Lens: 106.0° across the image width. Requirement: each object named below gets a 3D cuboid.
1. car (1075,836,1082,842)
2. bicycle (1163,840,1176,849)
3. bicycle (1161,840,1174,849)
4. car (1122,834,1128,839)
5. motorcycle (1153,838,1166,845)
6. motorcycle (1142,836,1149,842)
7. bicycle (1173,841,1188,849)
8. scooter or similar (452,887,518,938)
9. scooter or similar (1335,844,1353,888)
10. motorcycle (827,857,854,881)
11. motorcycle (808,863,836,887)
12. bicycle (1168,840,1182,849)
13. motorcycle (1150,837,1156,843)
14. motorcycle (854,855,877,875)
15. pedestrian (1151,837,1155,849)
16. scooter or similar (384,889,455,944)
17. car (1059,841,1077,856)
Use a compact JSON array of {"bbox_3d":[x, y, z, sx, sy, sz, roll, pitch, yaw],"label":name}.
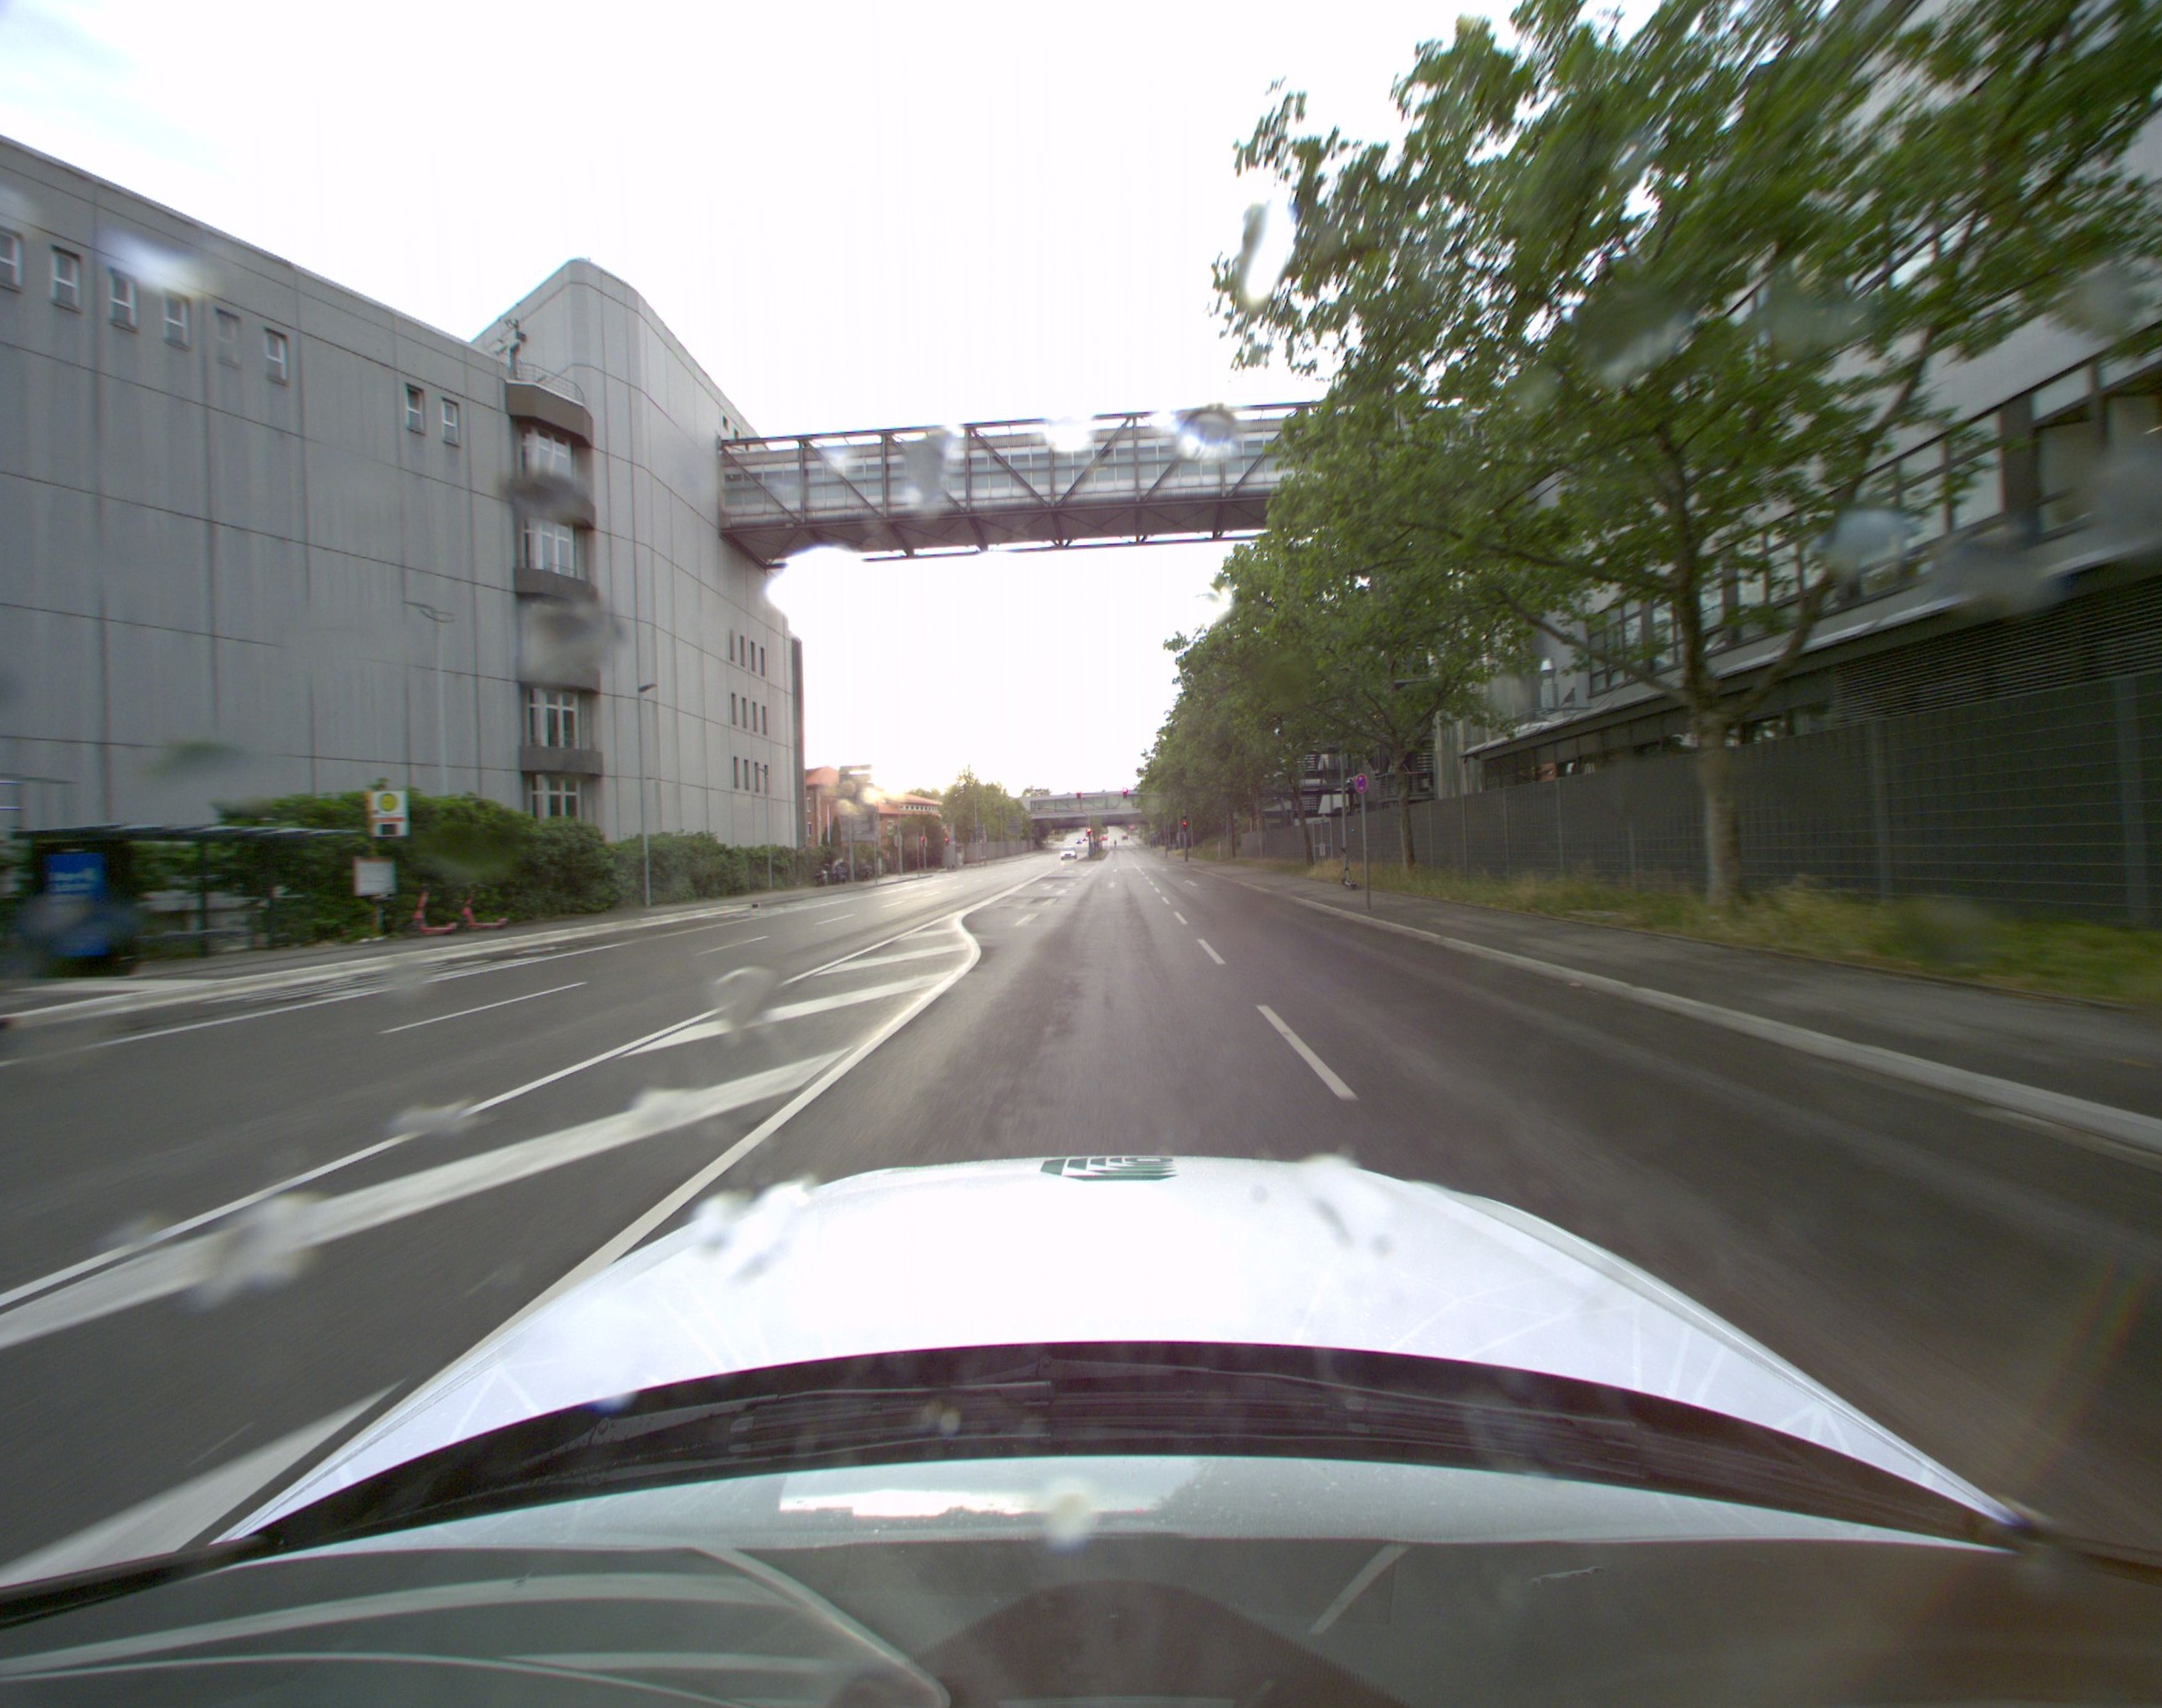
[{"bbox_3d":[-0.780,-4.652,246.793,1.869,1.624,3.782,-3,1,3],"label":"car"},{"bbox_3d":[13.658,-1.458,126.380,1.982,1.430,0.723,0,0,3],"label":"bicycle"},{"bbox_3d":[13.296,-1.396,124.717,1.982,1.328,0.577,0,0,3],"label":"bicycle"},{"bbox_3d":[14.104,-5.596,260.948,1.867,1.497,4.072,0,0,3],"label":"car"},{"bbox_3d":[15.418,-2.496,160.345,2.354,1.202,0.724,-3,0,10],"label":"motorcycle"},{"bbox_3d":[14.539,-3.338,184.233,0.791,1.311,2.364,-4,1,-15],"label":"motorcycle"},{"bbox_3d":[13.839,-1.306,113.213,1.982,1.094,0.542,0,0,3],"label":"bicycle"},{"bbox_3d":[-15.256,1.471,20.869,0.375,1.181,1.383,-3,0,16],"label":"scooter or similar"},{"bbox_3d":[7.834,0.341,24.237,0.326,1.269,1.112,-3,0,11],"label":"scooter or similar"},{"bbox_3d":[-14.434,0.902,48.883,0.781,1.347,2.371,-3,0,2],"label":"motorcycle"},{"bbox_3d":[-14.696,1.173,46.279,0.781,1.250,2.158,-3,0,2],"label":"motorcycle"},{"bbox_3d":[13.240,-1.362,114.703,1.982,1.216,0.542,0,0,3],"label":"bicycle"},{"bbox_3d":[15.918,-3.106,179.296,0.789,1.311,2.372,-3,1,-5],"label":"motorcycle"},{"bbox_3d":[-14.361,0.692,54.342,0.781,1.247,2.158,-3,0,2],"label":"motorcycle"},{"bbox_3d":[13.376,-2.040,151.126,0.619,2.013,0.606,-3,0,3],"label":"pedestrian"},{"bbox_3d":[-15.567,1.450,19.191,0.385,1.180,1.256,-3,0,16],"label":"scooter or similar"},{"bbox_3d":[-1.521,-0.669,99.393,1.869,1.624,3.782,-3,1,3],"label":"car"}]
